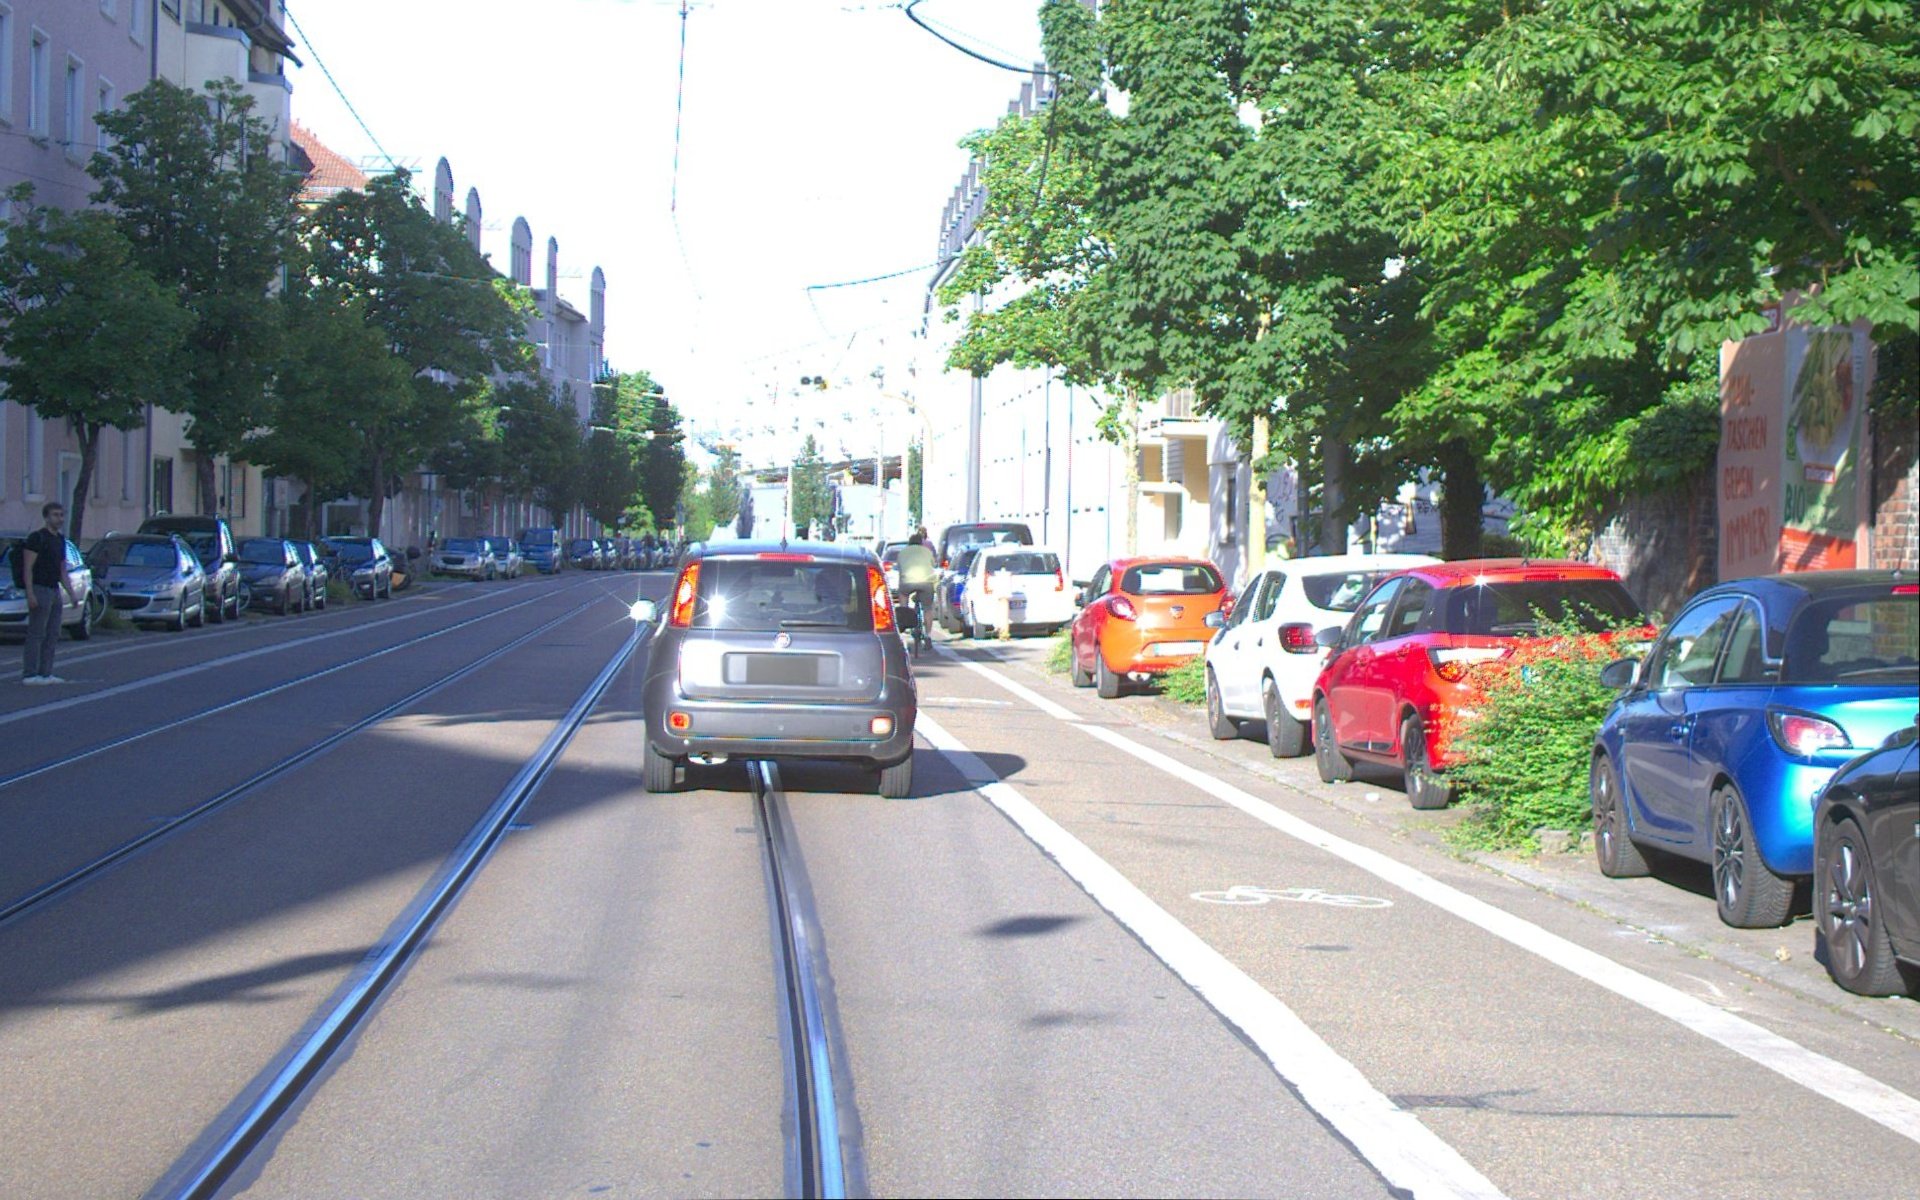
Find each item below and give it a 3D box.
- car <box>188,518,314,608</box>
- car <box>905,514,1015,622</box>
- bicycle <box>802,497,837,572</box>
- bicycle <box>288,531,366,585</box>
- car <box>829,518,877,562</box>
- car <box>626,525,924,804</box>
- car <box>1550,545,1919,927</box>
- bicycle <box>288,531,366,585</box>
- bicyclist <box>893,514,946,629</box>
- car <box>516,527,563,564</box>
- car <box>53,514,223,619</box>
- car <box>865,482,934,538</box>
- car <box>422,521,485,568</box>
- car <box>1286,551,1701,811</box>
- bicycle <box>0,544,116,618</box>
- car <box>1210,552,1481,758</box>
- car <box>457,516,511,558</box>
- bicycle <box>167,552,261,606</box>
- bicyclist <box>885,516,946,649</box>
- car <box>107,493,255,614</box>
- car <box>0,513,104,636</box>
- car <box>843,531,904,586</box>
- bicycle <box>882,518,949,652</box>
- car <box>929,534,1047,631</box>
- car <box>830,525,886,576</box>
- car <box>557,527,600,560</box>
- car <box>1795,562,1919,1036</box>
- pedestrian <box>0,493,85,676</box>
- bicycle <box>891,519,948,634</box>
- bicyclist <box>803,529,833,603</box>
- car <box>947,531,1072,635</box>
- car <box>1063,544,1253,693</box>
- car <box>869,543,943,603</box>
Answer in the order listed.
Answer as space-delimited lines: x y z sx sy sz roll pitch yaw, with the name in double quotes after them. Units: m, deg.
-13.748 -0.741 66.841 1.808 1.614 4.065 2 1 -4 "car"
-0.031 -0.636 65.632 1.655 1.937 4.665 2 1 -5 "car"
-3.864 -1.809 94.387 0.741 2.007 2.812 2 1 -5 "bicycle"
-14.698 -0.974 79.819 1.728 1.192 0.373 2 1 -7 "bicycle"
-4.097 -2.298 131.310 1.582 1.593 3.377 2 1 -5 "car"
-1.182 0.328 21.786 1.650 1.536 4.235 2 1 -3 "car"
3.928 0.514 15.825 1.689 1.525 4.000 0 1 -1 "car"
-14.619 -0.974 79.428 1.728 1.192 0.373 2 1 -7 "bicycle"
-0.635 -0.446 53.634 0.699 1.753 0.758 2 1 -5 "bicyclist"
-17.798 -2.315 145.635 1.706 1.491 3.722 2 1 -3 "car"
-12.817 -0.545 53.865 1.808 1.503 4.681 2 1 -4 "car"
-1.628 -2.379 91.700 1.582 1.400 3.377 2 1 -5 "car"
-17.218 -1.893 116.991 1.706 1.491 3.722 2 1 -3 "car"
3.379 0.451 22.501 1.688 1.525 4.001 0 1 -6 "car"
-12.993 -0.274 49.225 1.666 0.998 0.476 2 1 -1 "bicycle"
3.044 0.383 27.821 1.689 1.525 4.000 0 1 -1 "car"
-18.180 -2.411 131.365 1.706 1.491 3.722 2 1 -3 "car"
-13.735 -0.385 63.312 1.631 0.934 0.517 2 1 -8 "bicycle"
-0.606 -0.237 46.255 0.699 1.753 0.758 2 1 -5 "bicyclist"
-13.409 -0.818 59.389 1.808 1.937 4.334 2 1 -4 "car"
-12.496 -0.376 44.921 1.808 1.503 4.192 2 1 -4 "car"
-2.649 -1.276 104.952 1.582 1.593 3.377 2 1 -5 "car"
-0.609 -0.218 46.382 0.675 1.741 2.158 2 1 -5 "bicycle"
0.451 -0.331 59.911 1.655 1.566 3.877 2 1 -5 "car"
-3.338 -1.633 112.556 1.582 1.593 3.377 2 1 -5 "car"
-17.882 -2.653 161.220 1.706 1.491 3.722 2 1 -3 "car"
3.967 0.660 10.559 1.689 1.525 4.355 0 1 -1 "car"
-9.071 -0.164 33.689 0.849 1.770 0.735 -1 2 -24 "pedestrian"
-0.639 -0.380 53.671 0.675 1.741 2.158 2 1 -5 "bicycle"
-3.916 -0.941 94.543 0.715 2.007 0.832 2 1 -5 "bicyclist"
0.774 -0.296 55.818 1.655 1.566 3.500 2 1 -5 "car"
2.120 0.162 37.591 1.635 1.503 3.397 -1 1 -4 "car"
-1.362 -0.702 86.030 1.582 1.400 3.377 -2 1 -5 "car"
